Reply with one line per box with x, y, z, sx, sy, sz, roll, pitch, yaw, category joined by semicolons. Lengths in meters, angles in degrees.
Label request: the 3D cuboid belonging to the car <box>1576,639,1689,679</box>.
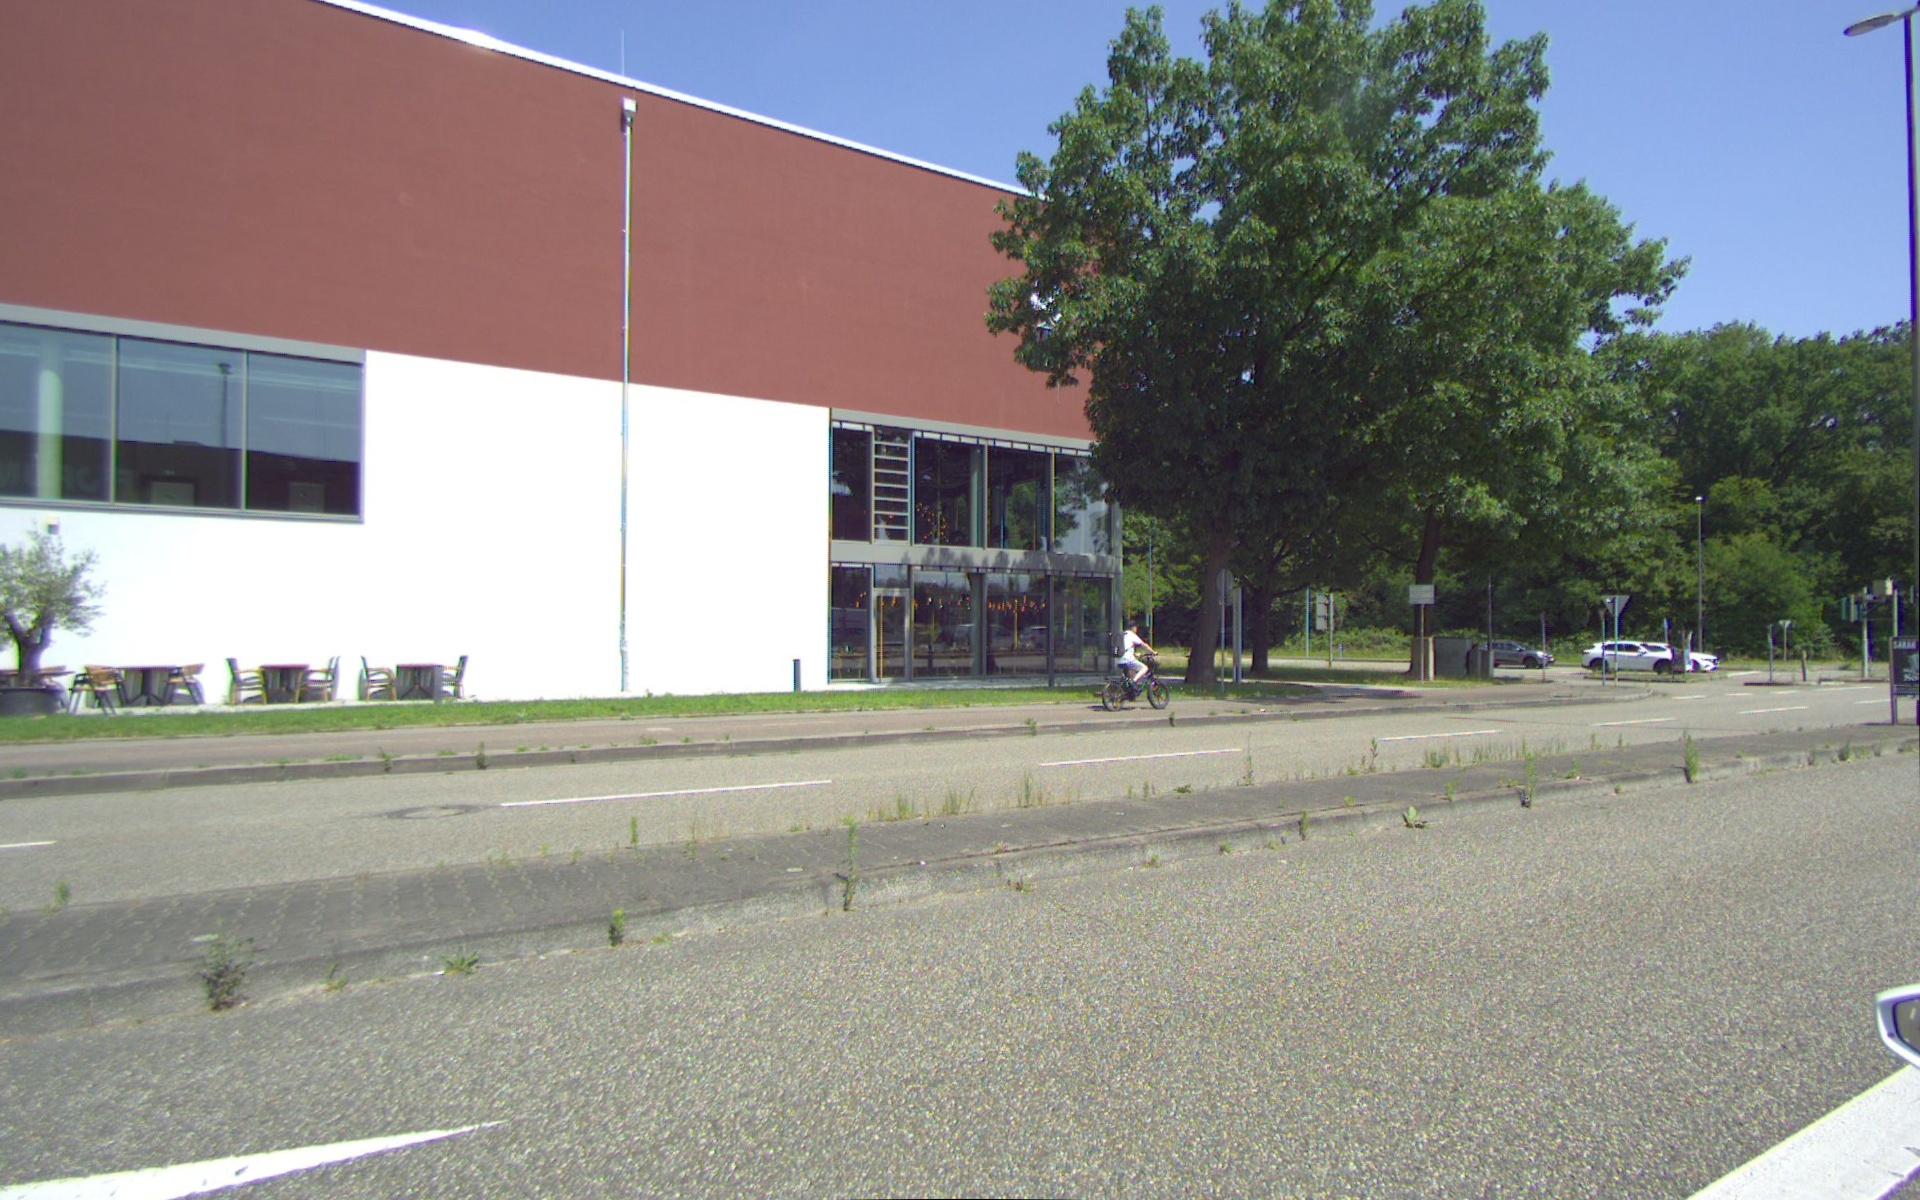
33.407;2.881;49.996;1.794;1.704;4.338;2;0;-37;car

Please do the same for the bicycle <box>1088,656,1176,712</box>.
3.260;1.574;19.025;1.640;0.982;0.614;1;-2;-30;bicycle

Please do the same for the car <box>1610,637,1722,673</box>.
36.555;2.861;52.101;1.794;1.703;4.340;2;-6;-37;car

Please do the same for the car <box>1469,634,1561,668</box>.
32.189;2.956;58.343;1.796;1.704;4.332;2;-1;-41;car

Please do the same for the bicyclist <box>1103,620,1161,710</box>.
3.267;1.219;19.056;0.913;1.652;0.605;1;-2;-30;bicyclist
